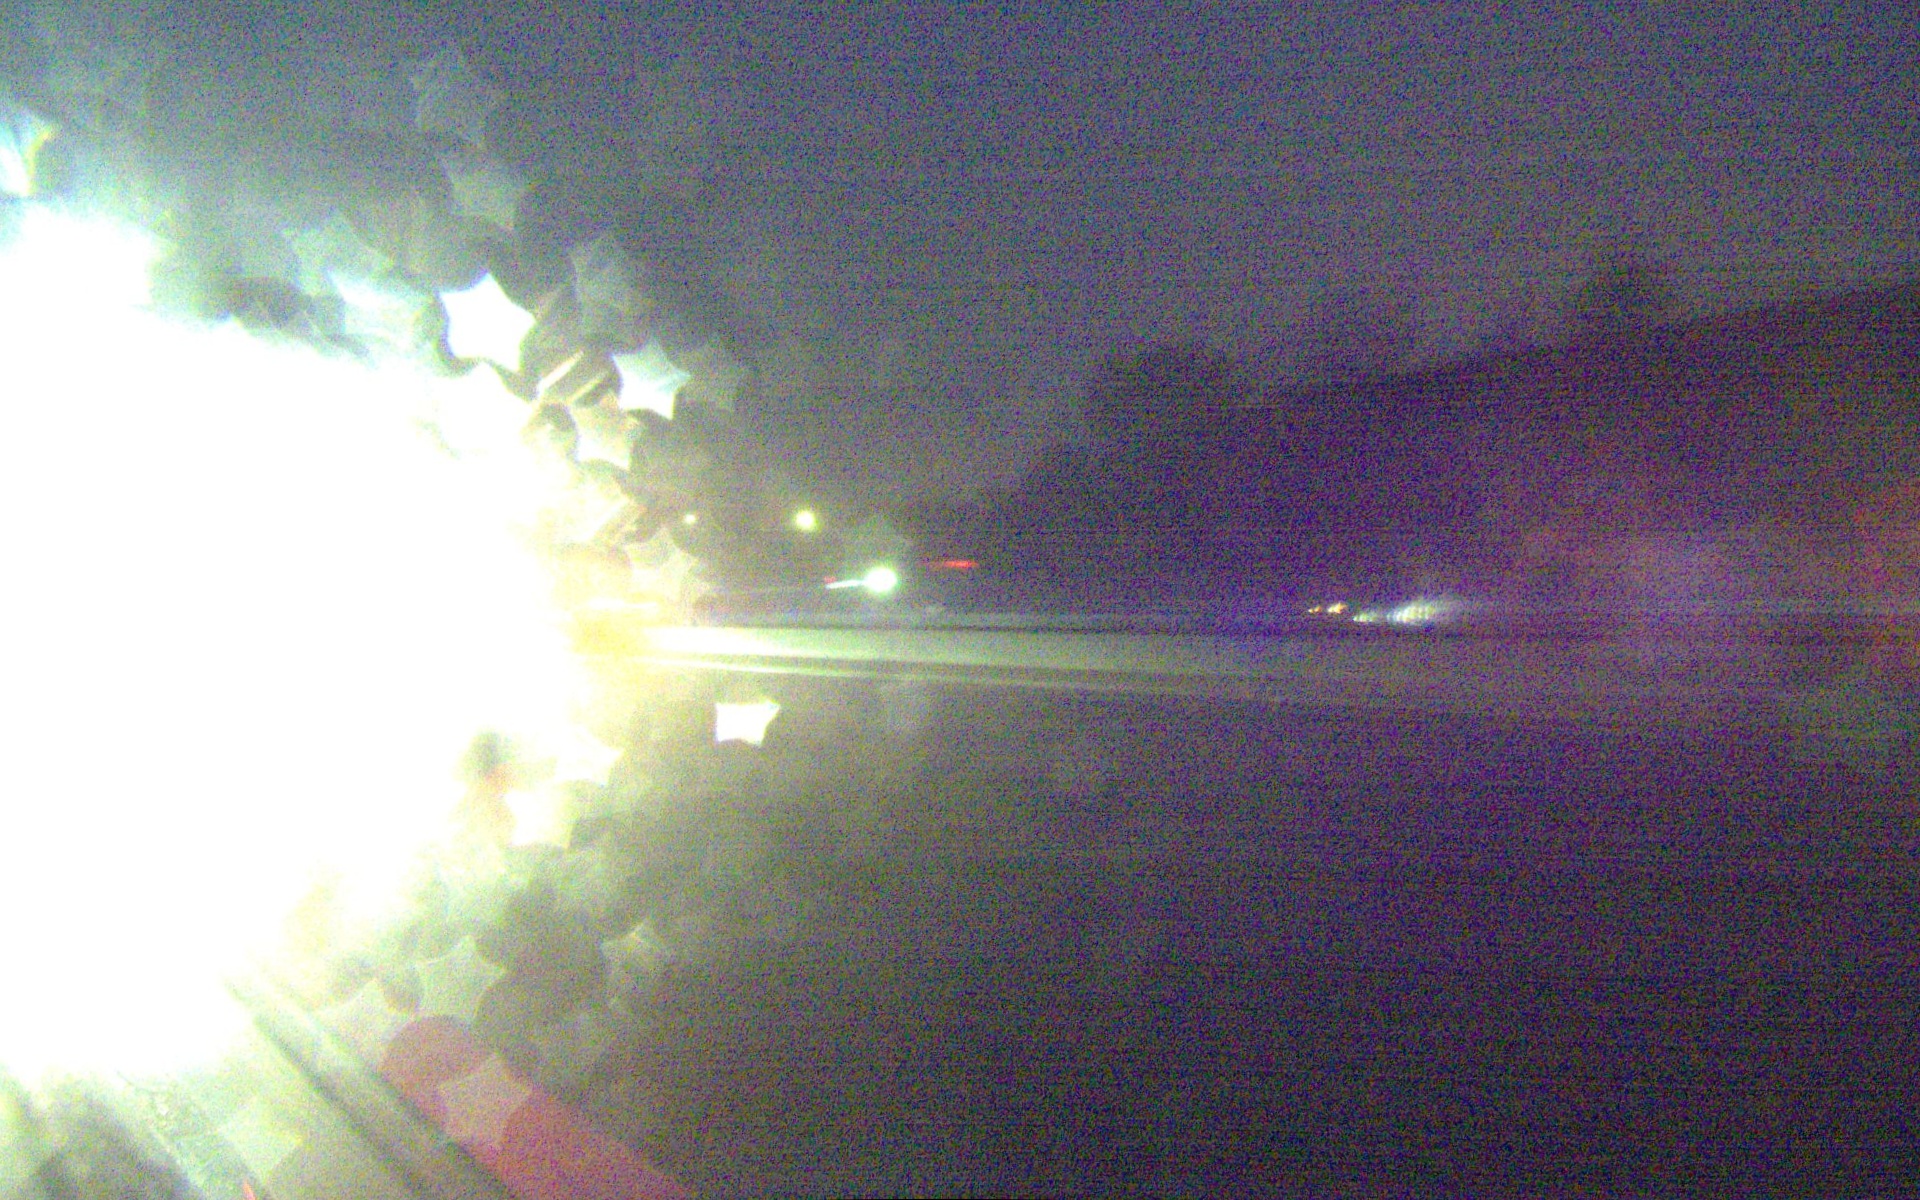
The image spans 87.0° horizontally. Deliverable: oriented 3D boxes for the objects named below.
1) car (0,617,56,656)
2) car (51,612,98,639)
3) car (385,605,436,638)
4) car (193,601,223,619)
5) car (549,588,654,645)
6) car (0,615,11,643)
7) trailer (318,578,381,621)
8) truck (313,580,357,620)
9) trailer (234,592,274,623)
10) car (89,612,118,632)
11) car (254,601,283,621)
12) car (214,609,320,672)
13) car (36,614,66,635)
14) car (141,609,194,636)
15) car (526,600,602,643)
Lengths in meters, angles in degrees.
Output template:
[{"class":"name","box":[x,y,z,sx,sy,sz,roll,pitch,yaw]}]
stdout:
[{"class":"car","box":[-41.483,1.577,44.599,3.997,1.608,1.897,-1,1,40]},{"class":"car","box":[-57.593,1.617,65.806,4.000,1.608,1.895,-1,1,43]},{"class":"car","box":[-37.533,1.447,69.063,1.971,2.028,4.004,-5,3,-43]},{"class":"car","box":[-82.898,1.062,111.506,4.001,1.785,1.972,-1,3,44]},{"class":"car","box":[-14.189,0.618,39.913,4.568,2.028,1.972,-1,3,44]},{"class":"car","box":[-71.308,2.177,74.424,4.001,2.028,1.972,-1,3,44]},{"class":"trailer","box":[-58.416,-0.038,96.615,2.620,3.758,13.963,-5,3,-41]},{"class":"truck","box":[-62.824,-0.041,101.712,2.621,3.758,5.712,-5,3,-41]},{"class":"trailer","box":[-100.092,1.030,143.324,2.737,4.058,14.031,-5,3,-42]},{"class":"car","box":[-87.505,2.227,103.377,1.903,1.807,4.003,-4,3,-44]},{"class":"car","box":[-76.533,1.206,111.953,1.970,2.028,4.004,-5,3,-43]},{"class":"car","box":[-19.941,1.108,29.067,4.001,1.608,1.703,-1,1,44]},{"class":"car","box":[-88.753,2.378,98.778,1.903,1.807,4.003,-5,3,-44]},{"class":"car","box":[-50.937,1.421,65.027,3.997,1.608,1.897,-1,1,40]},{"class":"car","box":[-20.615,1.089,52.657,3.999,2.028,1.973,-1,3,42]}]
